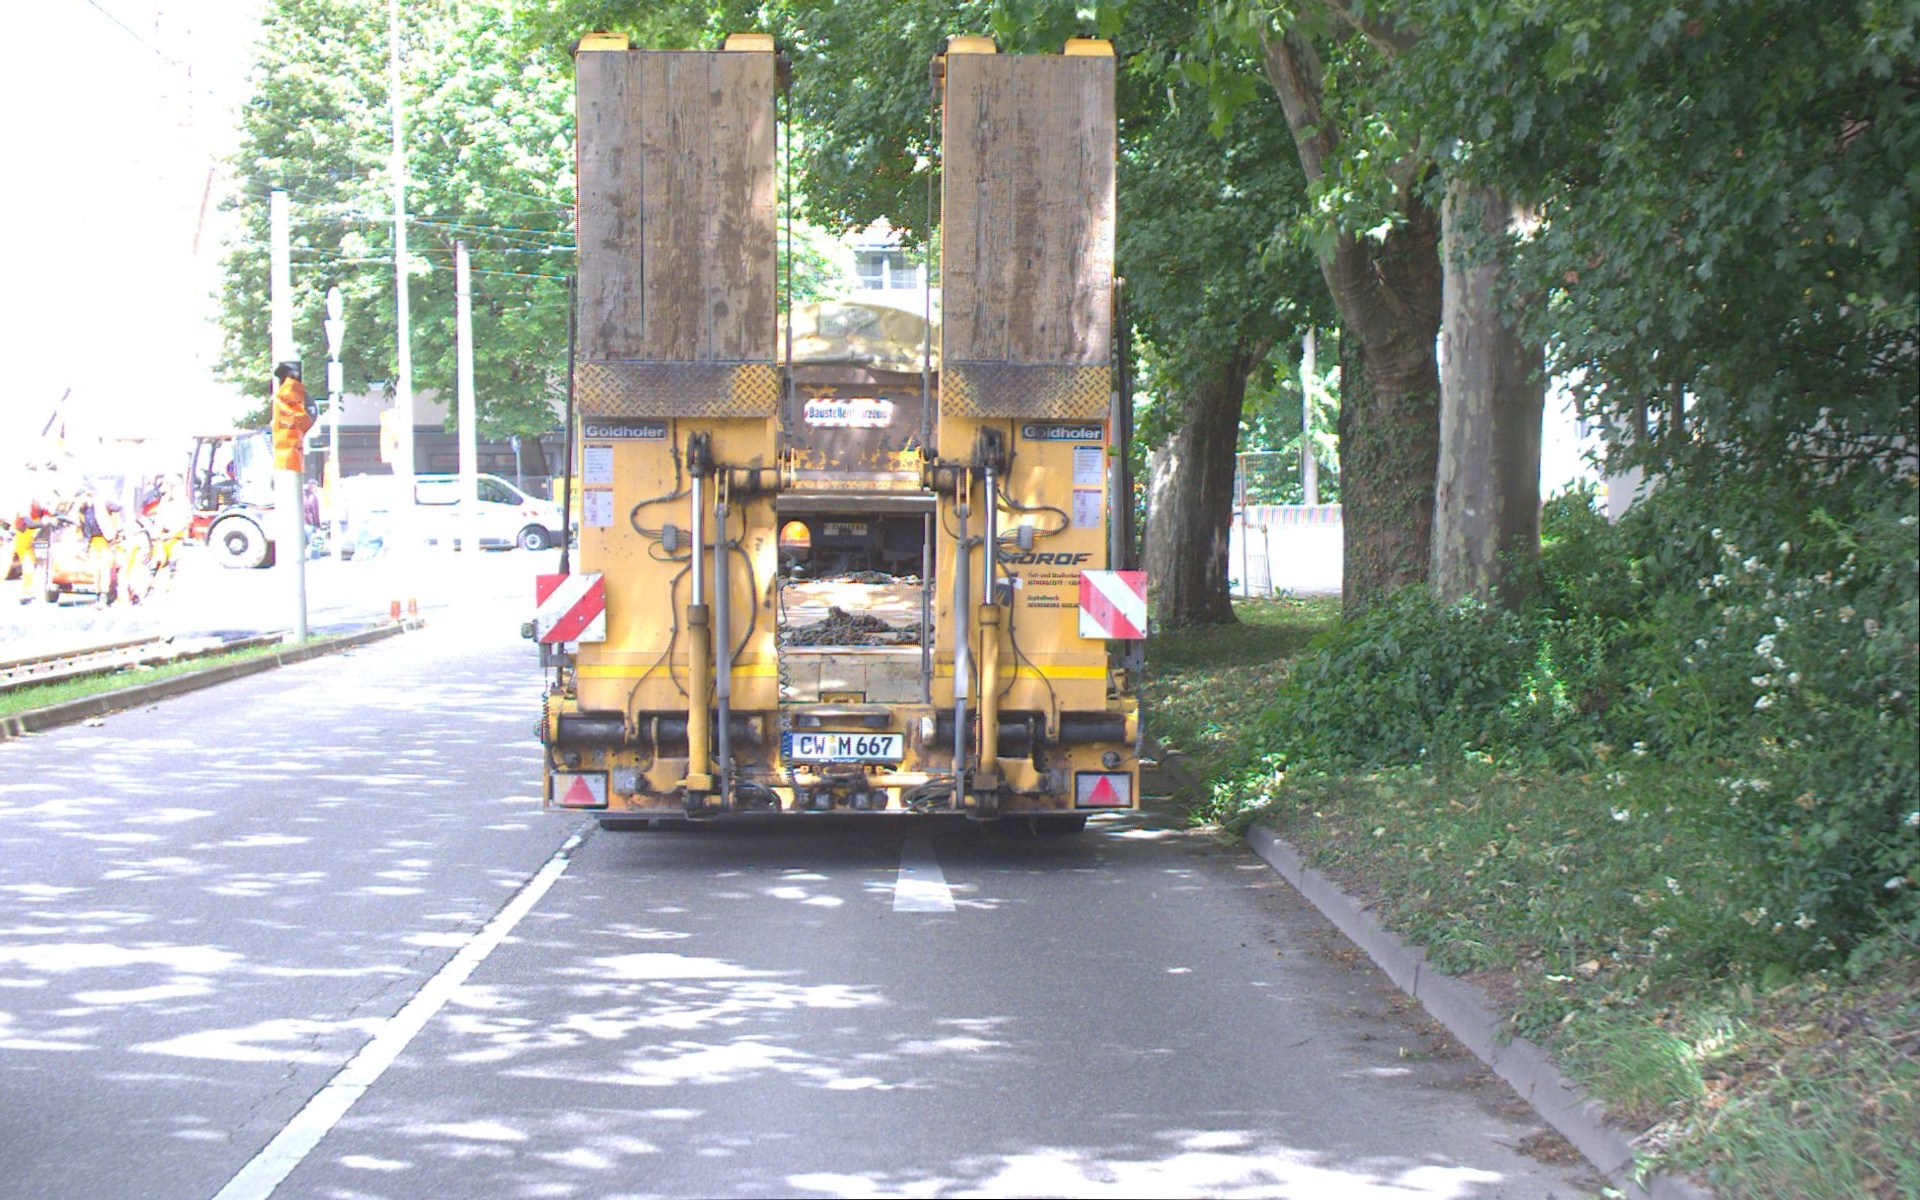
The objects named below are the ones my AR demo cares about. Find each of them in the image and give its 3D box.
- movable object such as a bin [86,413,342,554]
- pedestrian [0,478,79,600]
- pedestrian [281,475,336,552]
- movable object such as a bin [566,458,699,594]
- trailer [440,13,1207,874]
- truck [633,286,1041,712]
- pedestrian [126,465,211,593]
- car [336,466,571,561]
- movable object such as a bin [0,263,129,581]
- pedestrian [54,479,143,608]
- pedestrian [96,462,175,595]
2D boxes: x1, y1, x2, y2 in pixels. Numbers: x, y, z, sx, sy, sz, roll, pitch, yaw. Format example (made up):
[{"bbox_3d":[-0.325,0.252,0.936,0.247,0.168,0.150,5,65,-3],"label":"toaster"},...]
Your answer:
[{"bbox_3d":[-14.350,-2.234,66.128,4.372,2.620,2.217,1,2,26],"label":"movable object such as a bin"},{"bbox_3d":[-13.277,-0.875,48.956,0.888,1.709,1.108,2,2,45],"label":"pedestrian"},{"bbox_3d":[-11.965,-1.584,63.151,0.916,1.404,0.753,0,1,-3],"label":"pedestrian"},{"bbox_3d":[-4.967,-1.135,52.375,1.399,2.007,2.555,1,2,10],"label":"movable object such as a bin"},{"bbox_3d":[-0.696,-0.773,19.755,3.154,3.540,11.098,0,1,-1],"label":"trailer"},{"bbox_3d":[-1.014,-0.836,29.249,2.989,3.124,7.889,0,1,-2],"label":"truck"},{"bbox_3d":[-11.672,-1.050,50.712,0.887,1.860,0.836,1,2,28],"label":"pedestrian"},{"bbox_3d":[-11.555,-1.996,78.391,5.088,2.094,1.977,-1,3,-15],"label":"car"},{"bbox_3d":[-19.432,-3.120,61.573,9.214,5.396,2.660,1,2,26],"label":"movable object such as a bin"},{"bbox_3d":[-11.908,-0.790,47.528,0.886,1.754,0.836,1,1,16],"label":"pedestrian"},{"bbox_3d":[-11.644,-1.010,48.532,0.885,1.860,0.837,0,2,-30],"label":"pedestrian"}]
